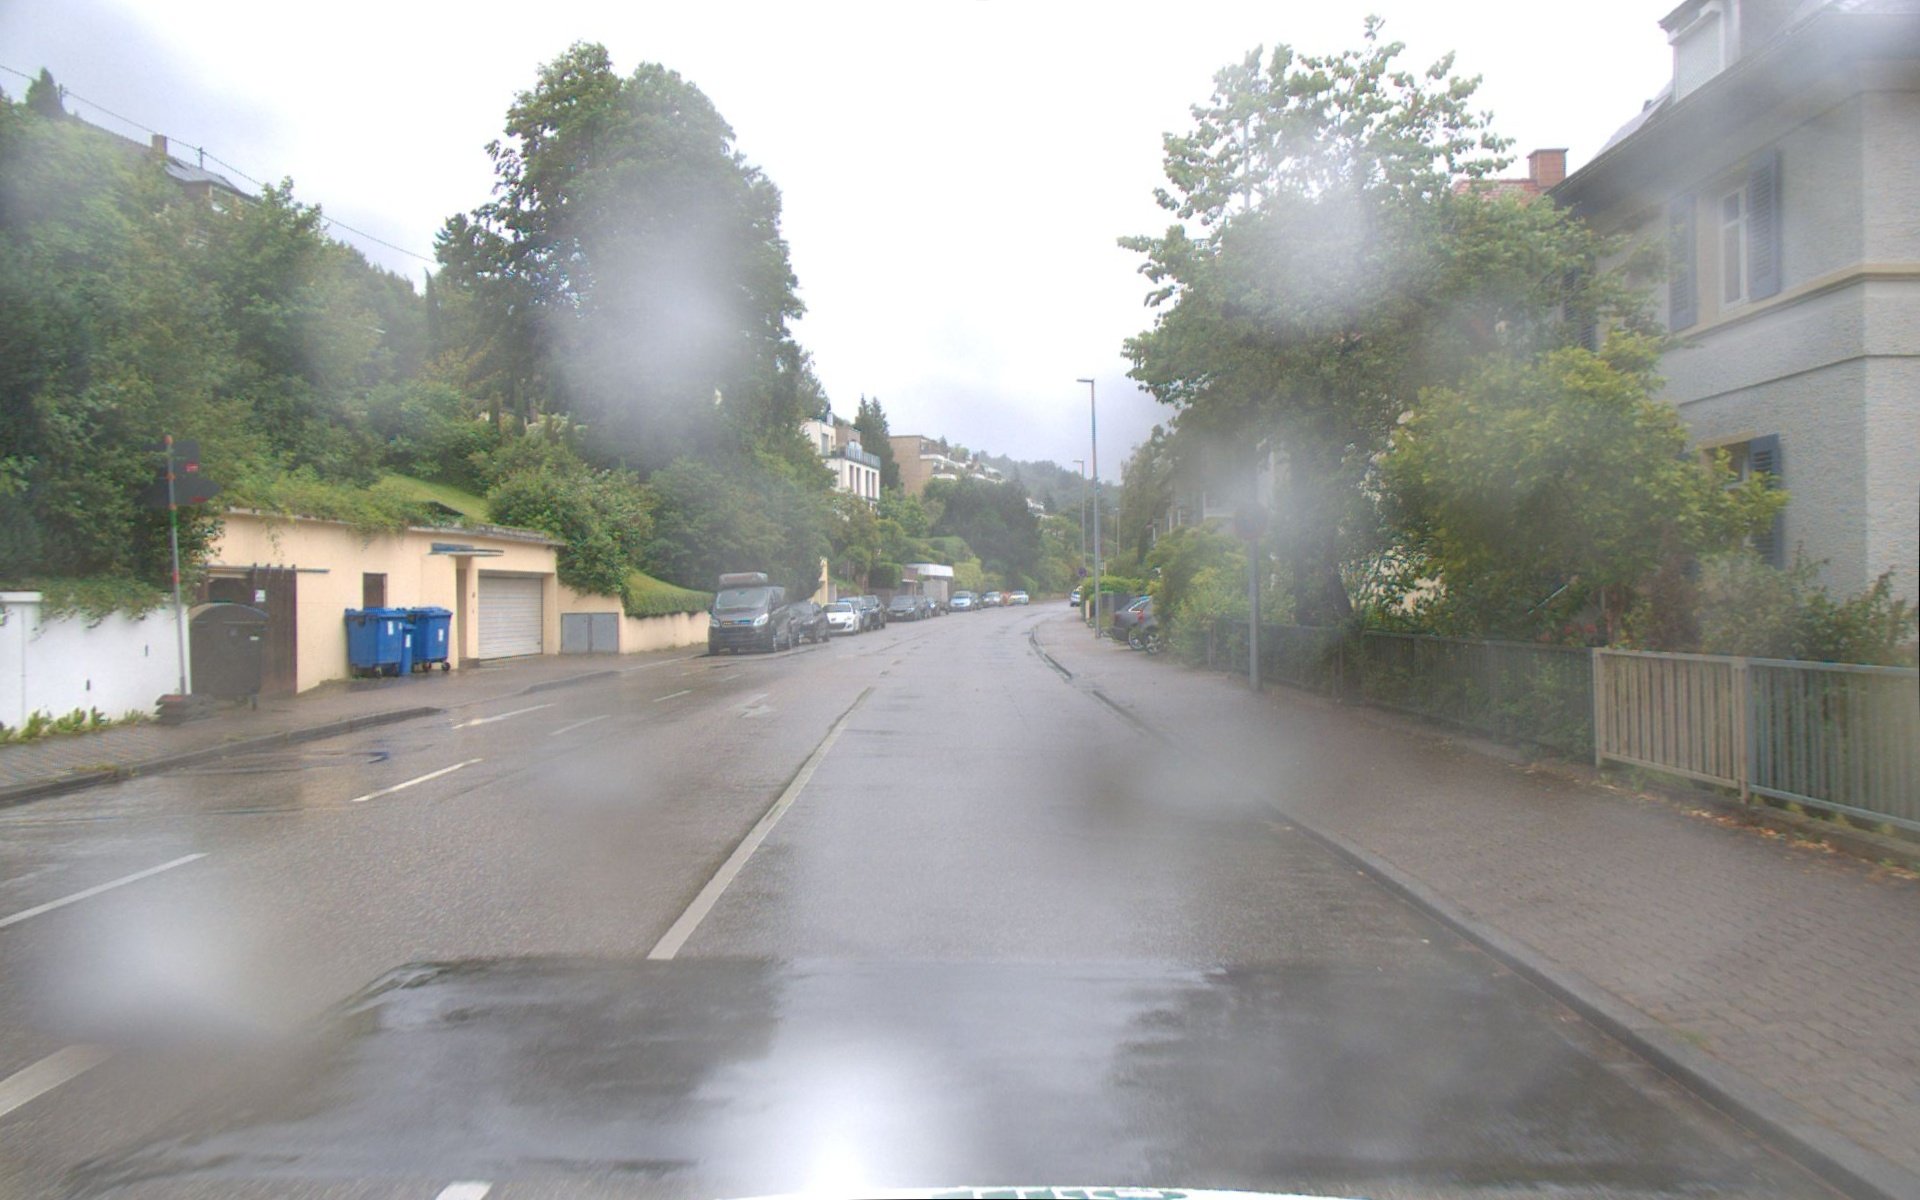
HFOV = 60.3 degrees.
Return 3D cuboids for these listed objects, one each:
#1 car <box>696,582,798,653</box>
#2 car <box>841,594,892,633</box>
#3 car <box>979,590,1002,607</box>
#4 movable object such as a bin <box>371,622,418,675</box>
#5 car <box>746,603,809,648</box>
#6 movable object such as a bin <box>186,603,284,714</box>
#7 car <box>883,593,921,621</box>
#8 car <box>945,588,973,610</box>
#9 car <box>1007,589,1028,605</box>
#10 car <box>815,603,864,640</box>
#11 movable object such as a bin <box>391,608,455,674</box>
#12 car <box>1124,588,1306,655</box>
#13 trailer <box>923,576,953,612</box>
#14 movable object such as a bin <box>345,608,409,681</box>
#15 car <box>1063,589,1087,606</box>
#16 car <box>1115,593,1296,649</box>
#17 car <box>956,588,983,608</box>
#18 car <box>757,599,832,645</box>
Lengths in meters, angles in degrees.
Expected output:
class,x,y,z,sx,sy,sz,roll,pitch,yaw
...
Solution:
class,x,y,z,sx,sy,sz,roll,pitch,yaw
car,-6.350,0.496,49.950,2.113,1.952,5.325,-2,0,2
car,-4.592,0.644,81.507,1.835,1.654,4.596,-4,1,4
car,2.897,-0.124,154.446,1.719,1.427,3.773,-4,0,7
movable object such as a bin,-11.521,0.992,33.730,0.720,1.060,0.608,0,0,5
car,-6.056,0.826,55.311,1.532,1.388,3.908,-3,0,1
movable object such as a bin,-10.018,0.799,22.872,0.913,1.471,0.861,2,-1,-1
car,-3.465,0.421,99.518,1.748,1.480,4.758,-3,1,4
car,-0.059,-0.106,131.797,1.719,1.566,3.759,-4,0,6
car,6.072,-0.296,173.376,1.718,1.524,4.223,-2,0,7
car,-5.171,0.912,71.629,1.681,1.389,4.084,-3,1,1
movable object such as a bin,-11.333,0.856,34.968,0.803,1.337,1.403,0,0,5
car,6.061,0.501,39.489,3.919,1.482,1.766,-1,1,35
trailer,-1.551,-0.439,117.736,1.504,2.441,3.075,-3,0,8
movable object such as a bin,-11.557,0.867,32.823,0.803,1.406,1.135,0,0,5
car,10.751,-0.251,154.085,1.751,1.485,4.312,-1,0,10
car,6.351,0.541,42.981,4.293,1.388,1.913,-1,-1,35
car,0.803,-0.166,137.247,1.719,1.433,3.707,-4,0,6
car,-5.967,0.778,60.243,1.868,1.506,4.757,-4,0,4
